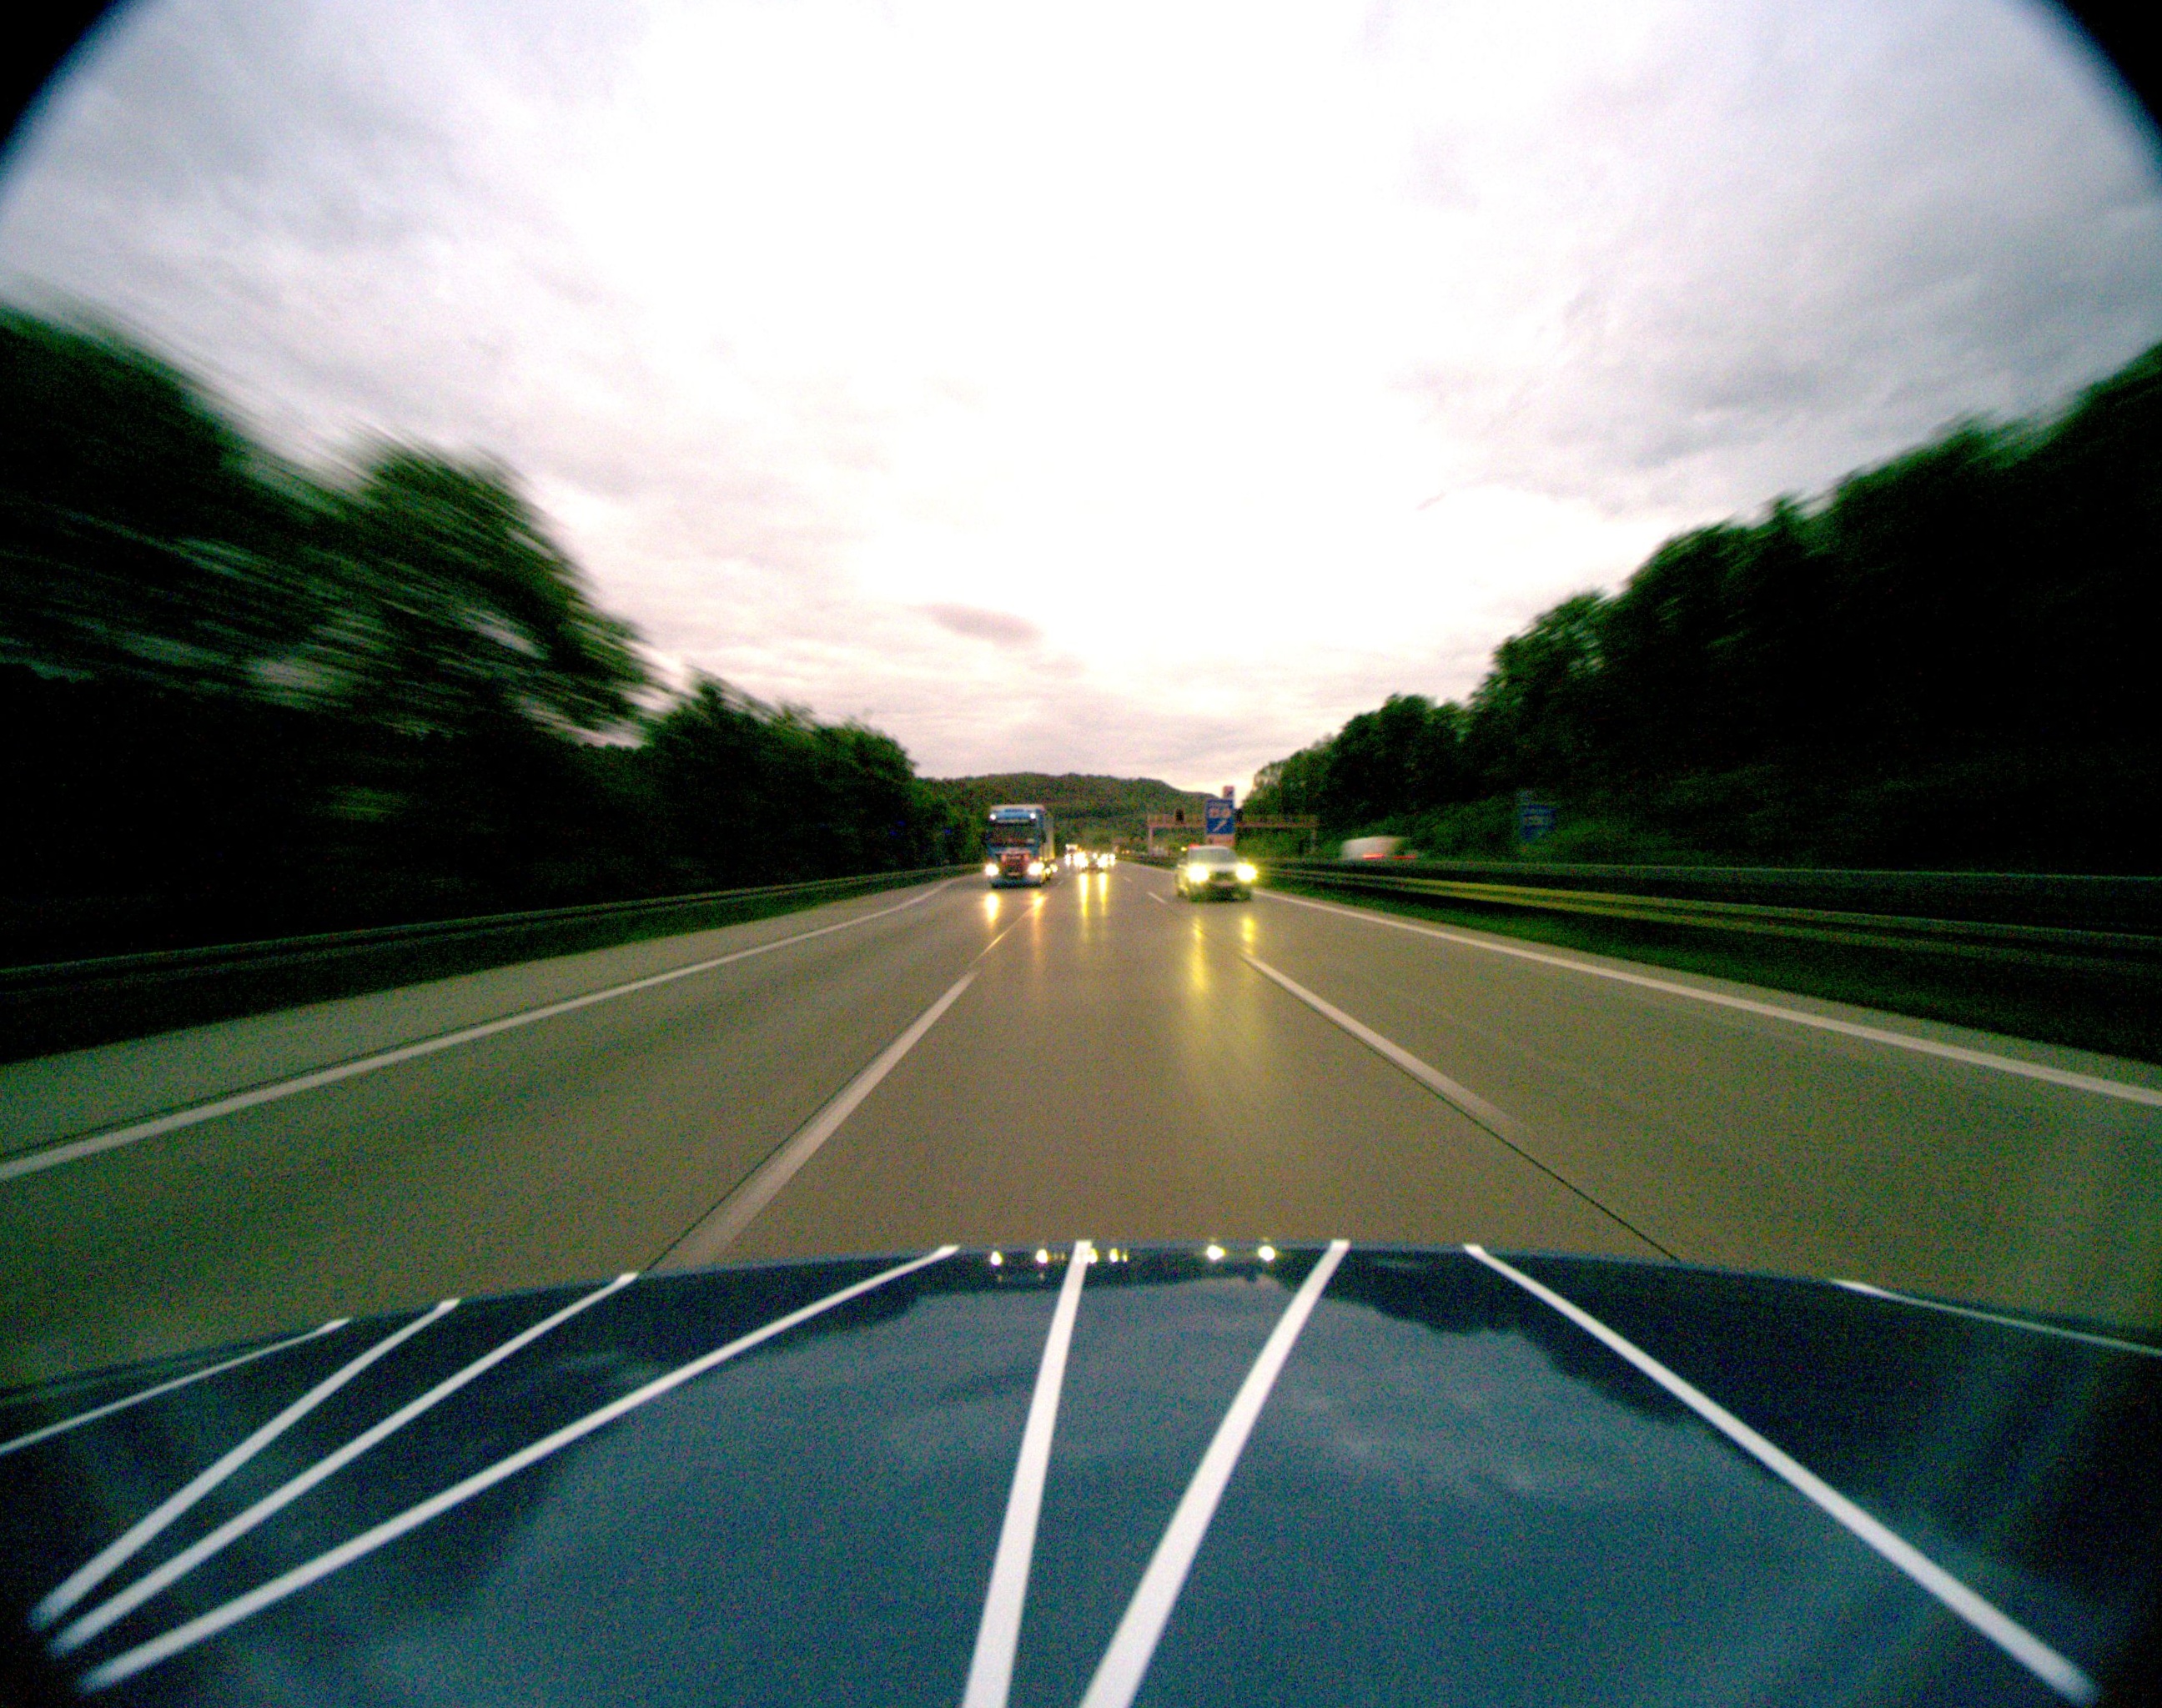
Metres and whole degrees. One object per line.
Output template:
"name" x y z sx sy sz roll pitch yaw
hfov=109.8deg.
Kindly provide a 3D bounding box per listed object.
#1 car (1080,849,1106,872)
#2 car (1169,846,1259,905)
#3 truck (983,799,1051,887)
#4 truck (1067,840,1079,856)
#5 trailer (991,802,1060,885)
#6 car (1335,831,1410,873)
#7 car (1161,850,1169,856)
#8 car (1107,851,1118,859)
"car" 0.963 0.474 59.862 1.927 1.674 4.806 0 1 1
"car" 4.155 0.583 24.701 1.894 1.650 5.638 -1 1 0
"truck" -3.057 -0.520 37.892 2.743 3.973 5.849 -2 1 1
"truck" -1.941 -1.519 187.253 2.623 3.805 10.385 0 1 1
"trailer" -2.946 -0.581 44.777 2.778 4.063 13.738 -2 1 1
"car" 17.968 -0.153 47.294 2.143 2.345 6.718 -1 1 1
"car" 24.253 -0.337 220.497 1.853 1.629 4.775 -1 1 1
"car" 6.372 0.206 153.613 1.898 1.503 3.999 -1 0 -1
